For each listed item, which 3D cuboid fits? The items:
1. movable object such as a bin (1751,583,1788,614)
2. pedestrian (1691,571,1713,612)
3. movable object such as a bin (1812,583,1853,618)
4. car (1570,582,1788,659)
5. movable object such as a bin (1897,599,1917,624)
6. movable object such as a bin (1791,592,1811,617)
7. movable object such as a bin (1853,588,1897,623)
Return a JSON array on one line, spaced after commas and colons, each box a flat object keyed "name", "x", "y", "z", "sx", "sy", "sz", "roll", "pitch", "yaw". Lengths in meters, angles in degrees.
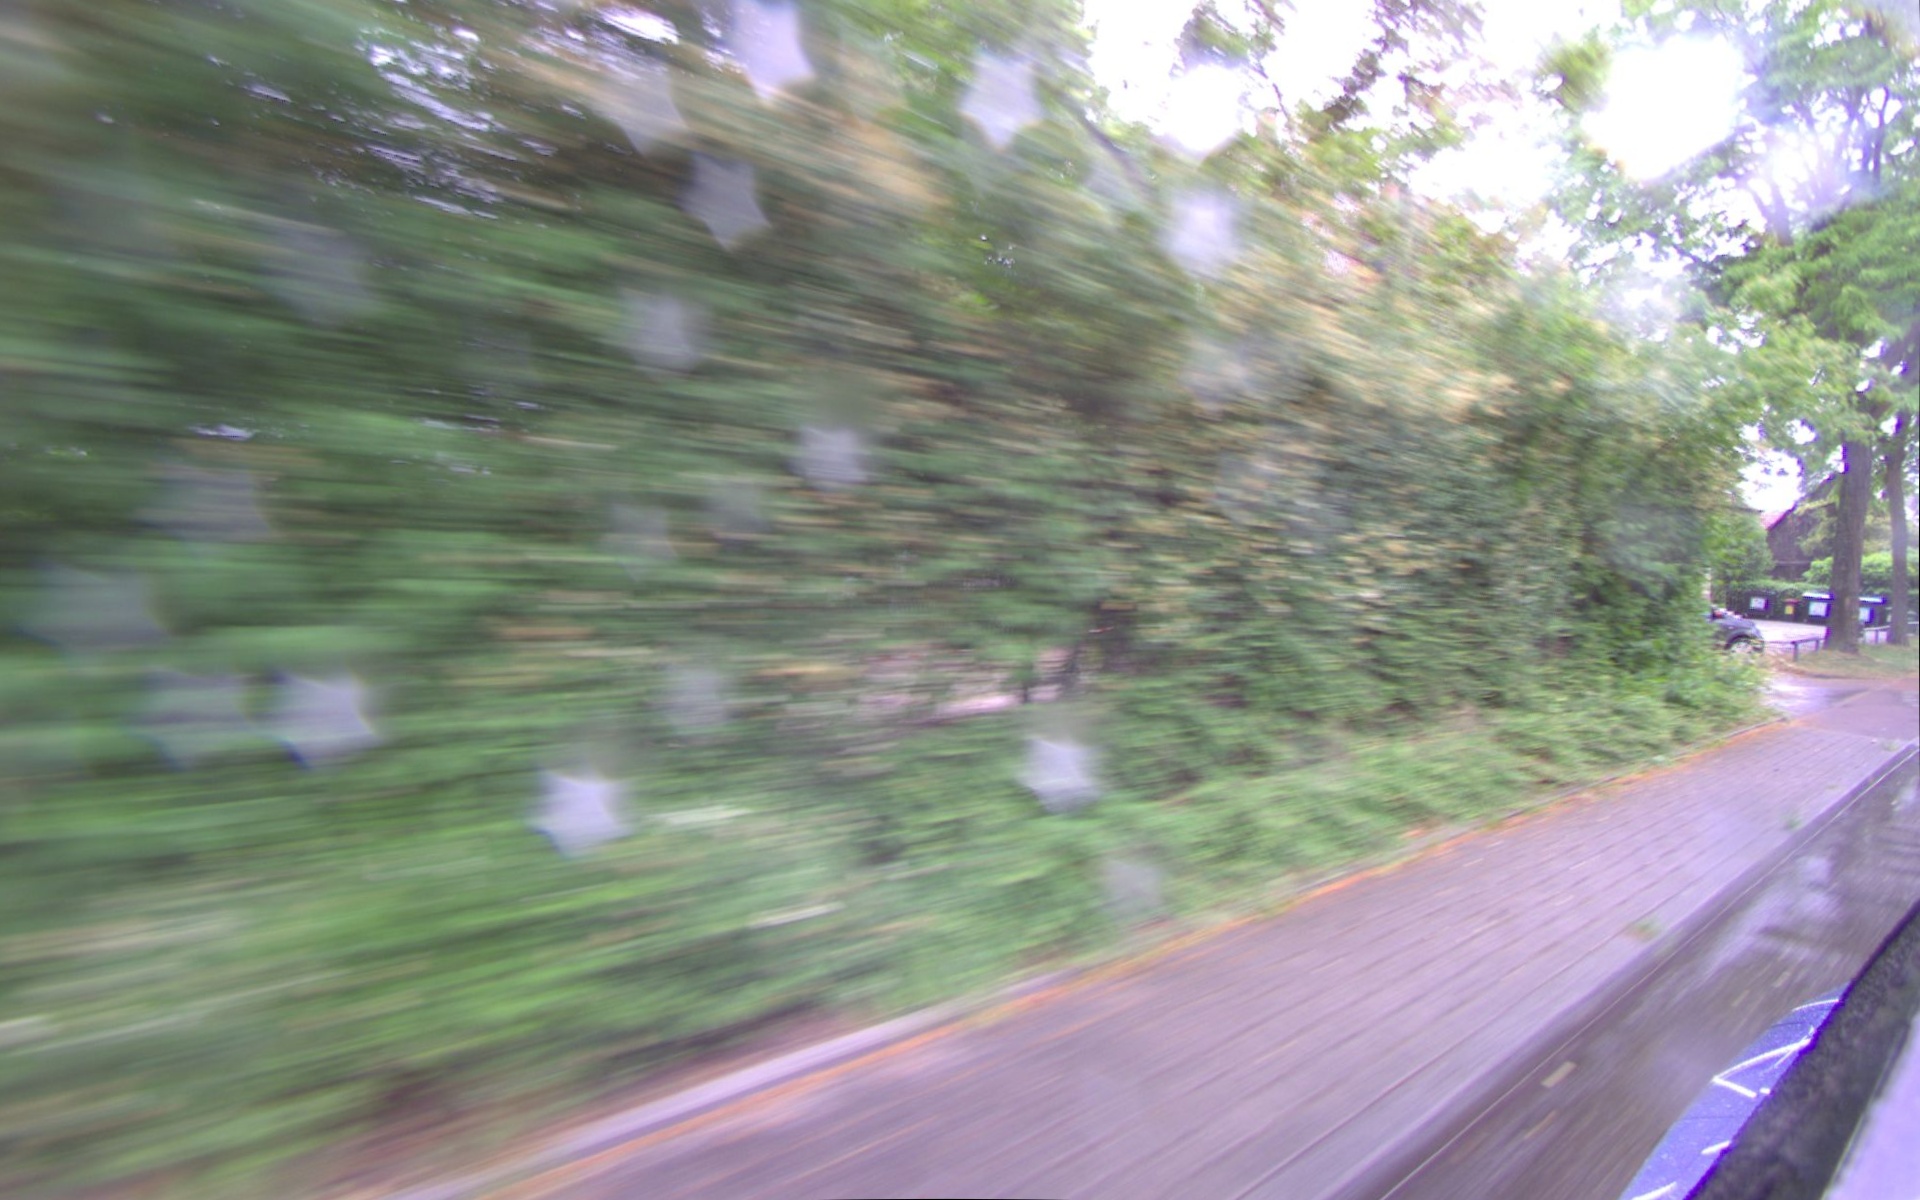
[{"name": "movable object such as a bin", "x": 38.298, "y": -0.095, "z": 47.877, "sx": 0.782, "sy": 1.359, "sz": 1.151, "roll": 0, "pitch": 5, "yaw": -41}, {"name": "pedestrian", "x": 32.411, "y": -0.366, "z": 44.212, "sx": 0.851, "sy": 1.776, "sz": 0.535, "roll": 2, "pitch": 1, "yaw": -41}, {"name": "movable object such as a bin", "x": 39.849, "y": 0.010, "z": 46.230, "sx": 0.782, "sy": 1.453, "sz": 1.238, "roll": 0, "pitch": 5, "yaw": -42}, {"name": "car", "x": 15.908, "y": 0.406, "z": 22.564, "sx": 3.556, "sy": 1.570, "sz": 1.617, "roll": 1, "pitch": 1, "yaw": 11}, {"name": "movable object such as a bin", "x": 41.553, "y": 0.518, "z": 44.405, "sx": 0.455, "sy": 1.035, "sz": 0.538, "roll": 0, "pitch": 4, "yaw": -42}, {"name": "movable object such as a bin", "x": 39.077, "y": 0.215, "z": 47.029, "sx": 0.521, "sy": 1.092, "sz": 0.568, "roll": 0, "pitch": 4, "yaw": -42}, {"name": "movable object such as a bin", "x": 40.740, "y": 0.250, "z": 45.051, "sx": 0.782, "sy": 1.435, "sz": 1.296, "roll": 0, "pitch": 5, "yaw": -42}]
